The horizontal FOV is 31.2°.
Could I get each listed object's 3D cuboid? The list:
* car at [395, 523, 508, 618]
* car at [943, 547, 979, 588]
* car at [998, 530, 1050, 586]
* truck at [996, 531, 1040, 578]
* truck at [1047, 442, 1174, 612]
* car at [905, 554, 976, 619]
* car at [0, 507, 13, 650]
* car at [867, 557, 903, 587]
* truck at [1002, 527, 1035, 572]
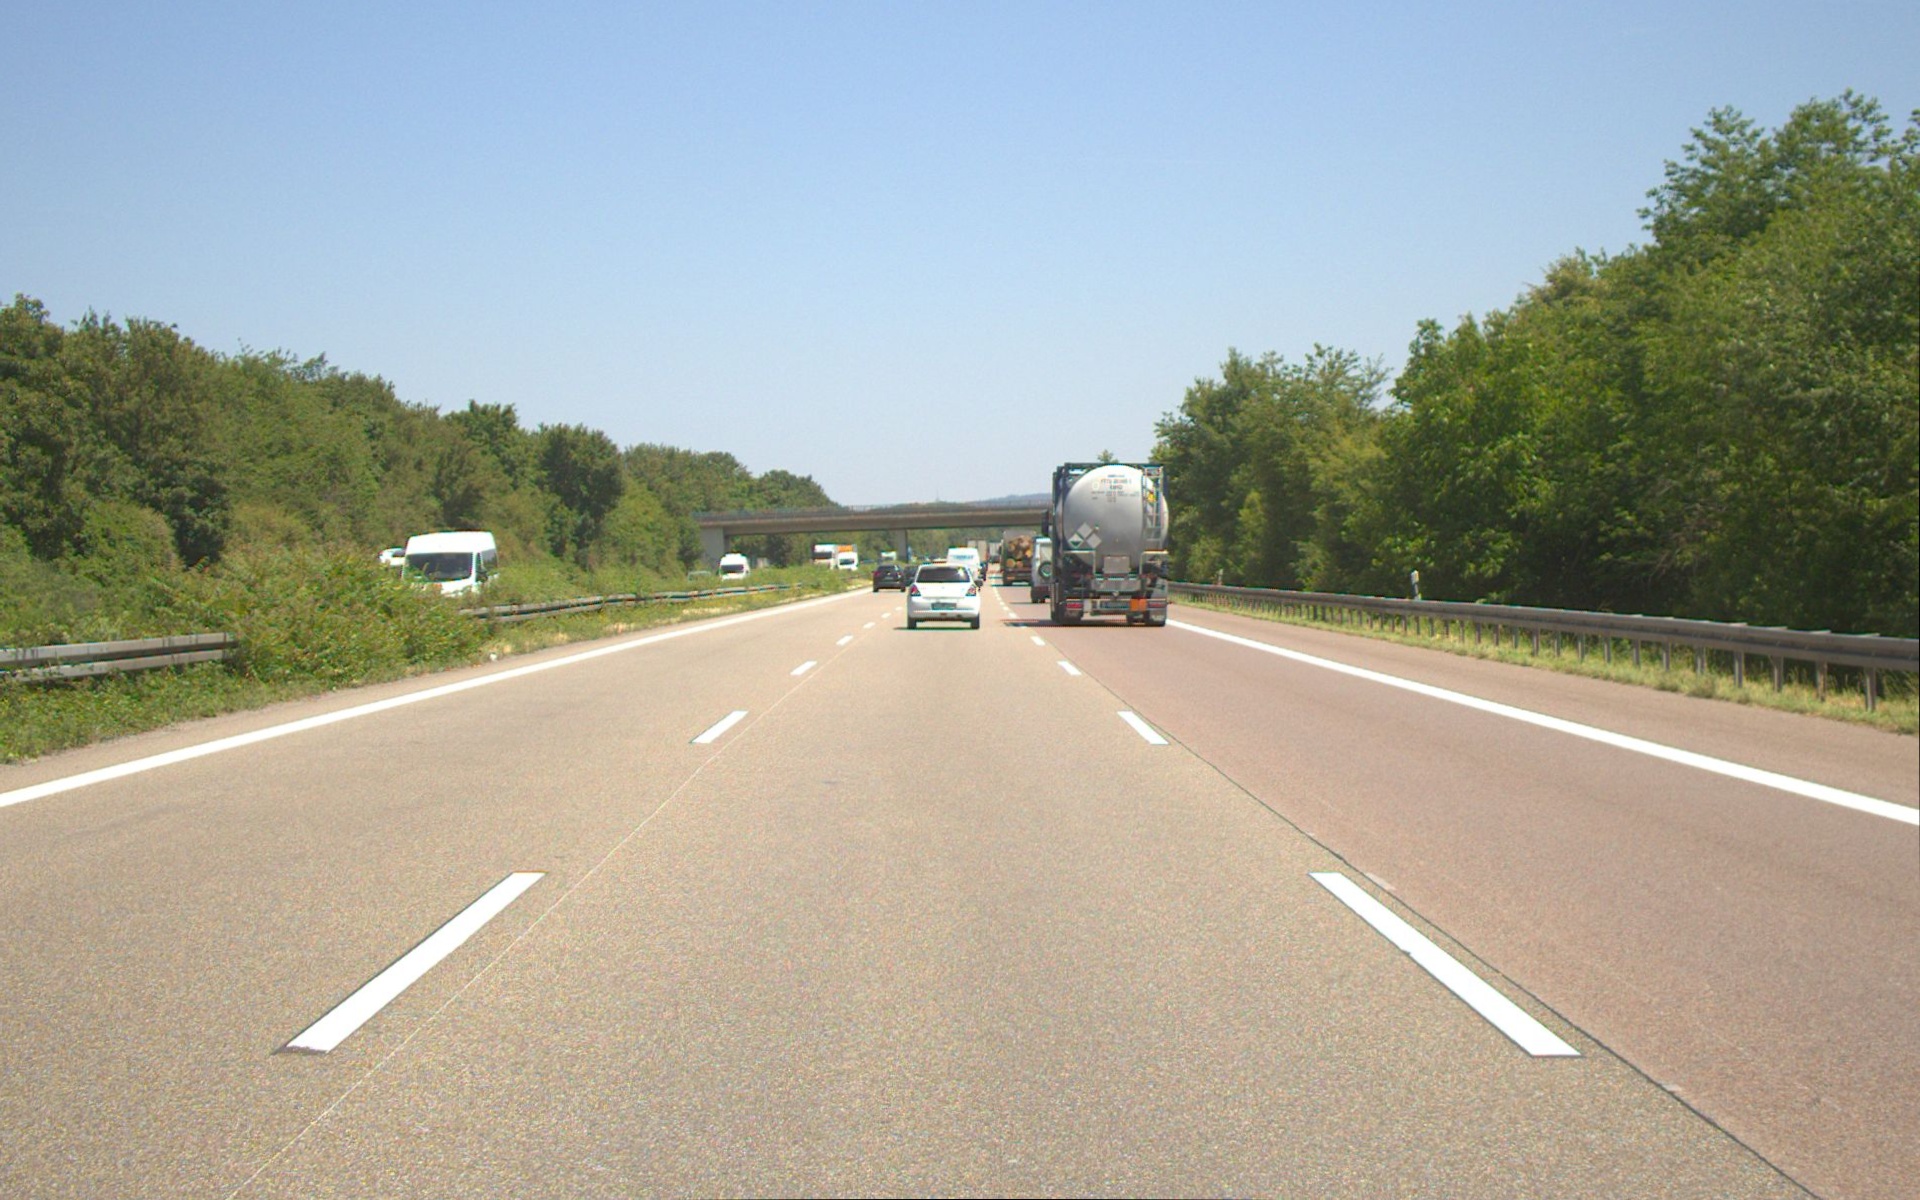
[{"bbox_3d":[-13.370,-0.801,90.695,1.993,2.392,6.166,-1,1,0],"label":"car"},{"bbox_3d":[0.068,-1.903,198.734,1.993,2.335,4.387,0,1,1],"label":"car"},{"bbox_3d":[2.579,-1.683,138.616,1.993,2.217,4.786,0,1,0],"label":"car"},{"bbox_3d":[4.006,-3.137,239.732,2.915,3.229,6.344,0,0,0],"label":"truck"},{"bbox_3d":[3.696,-1.798,86.822,2.739,4.038,10.455,0,1,0],"label":"truck"},{"bbox_3d":[-0.463,-0.331,80.492,1.627,1.474,4.000,0,1,0],"label":"car"},{"bbox_3d":[-17.524,-0.314,56.258,2.214,2.433,6.420,-1,1,0],"label":"car"},{"bbox_3d":[-4.289,-1.619,197.915,1.993,1.719,4.786,0,1,0],"label":"car"},{"bbox_3d":[4.220,-3.646,249.438,2.290,3.229,6.344,0,0,0],"label":"truck"}]
